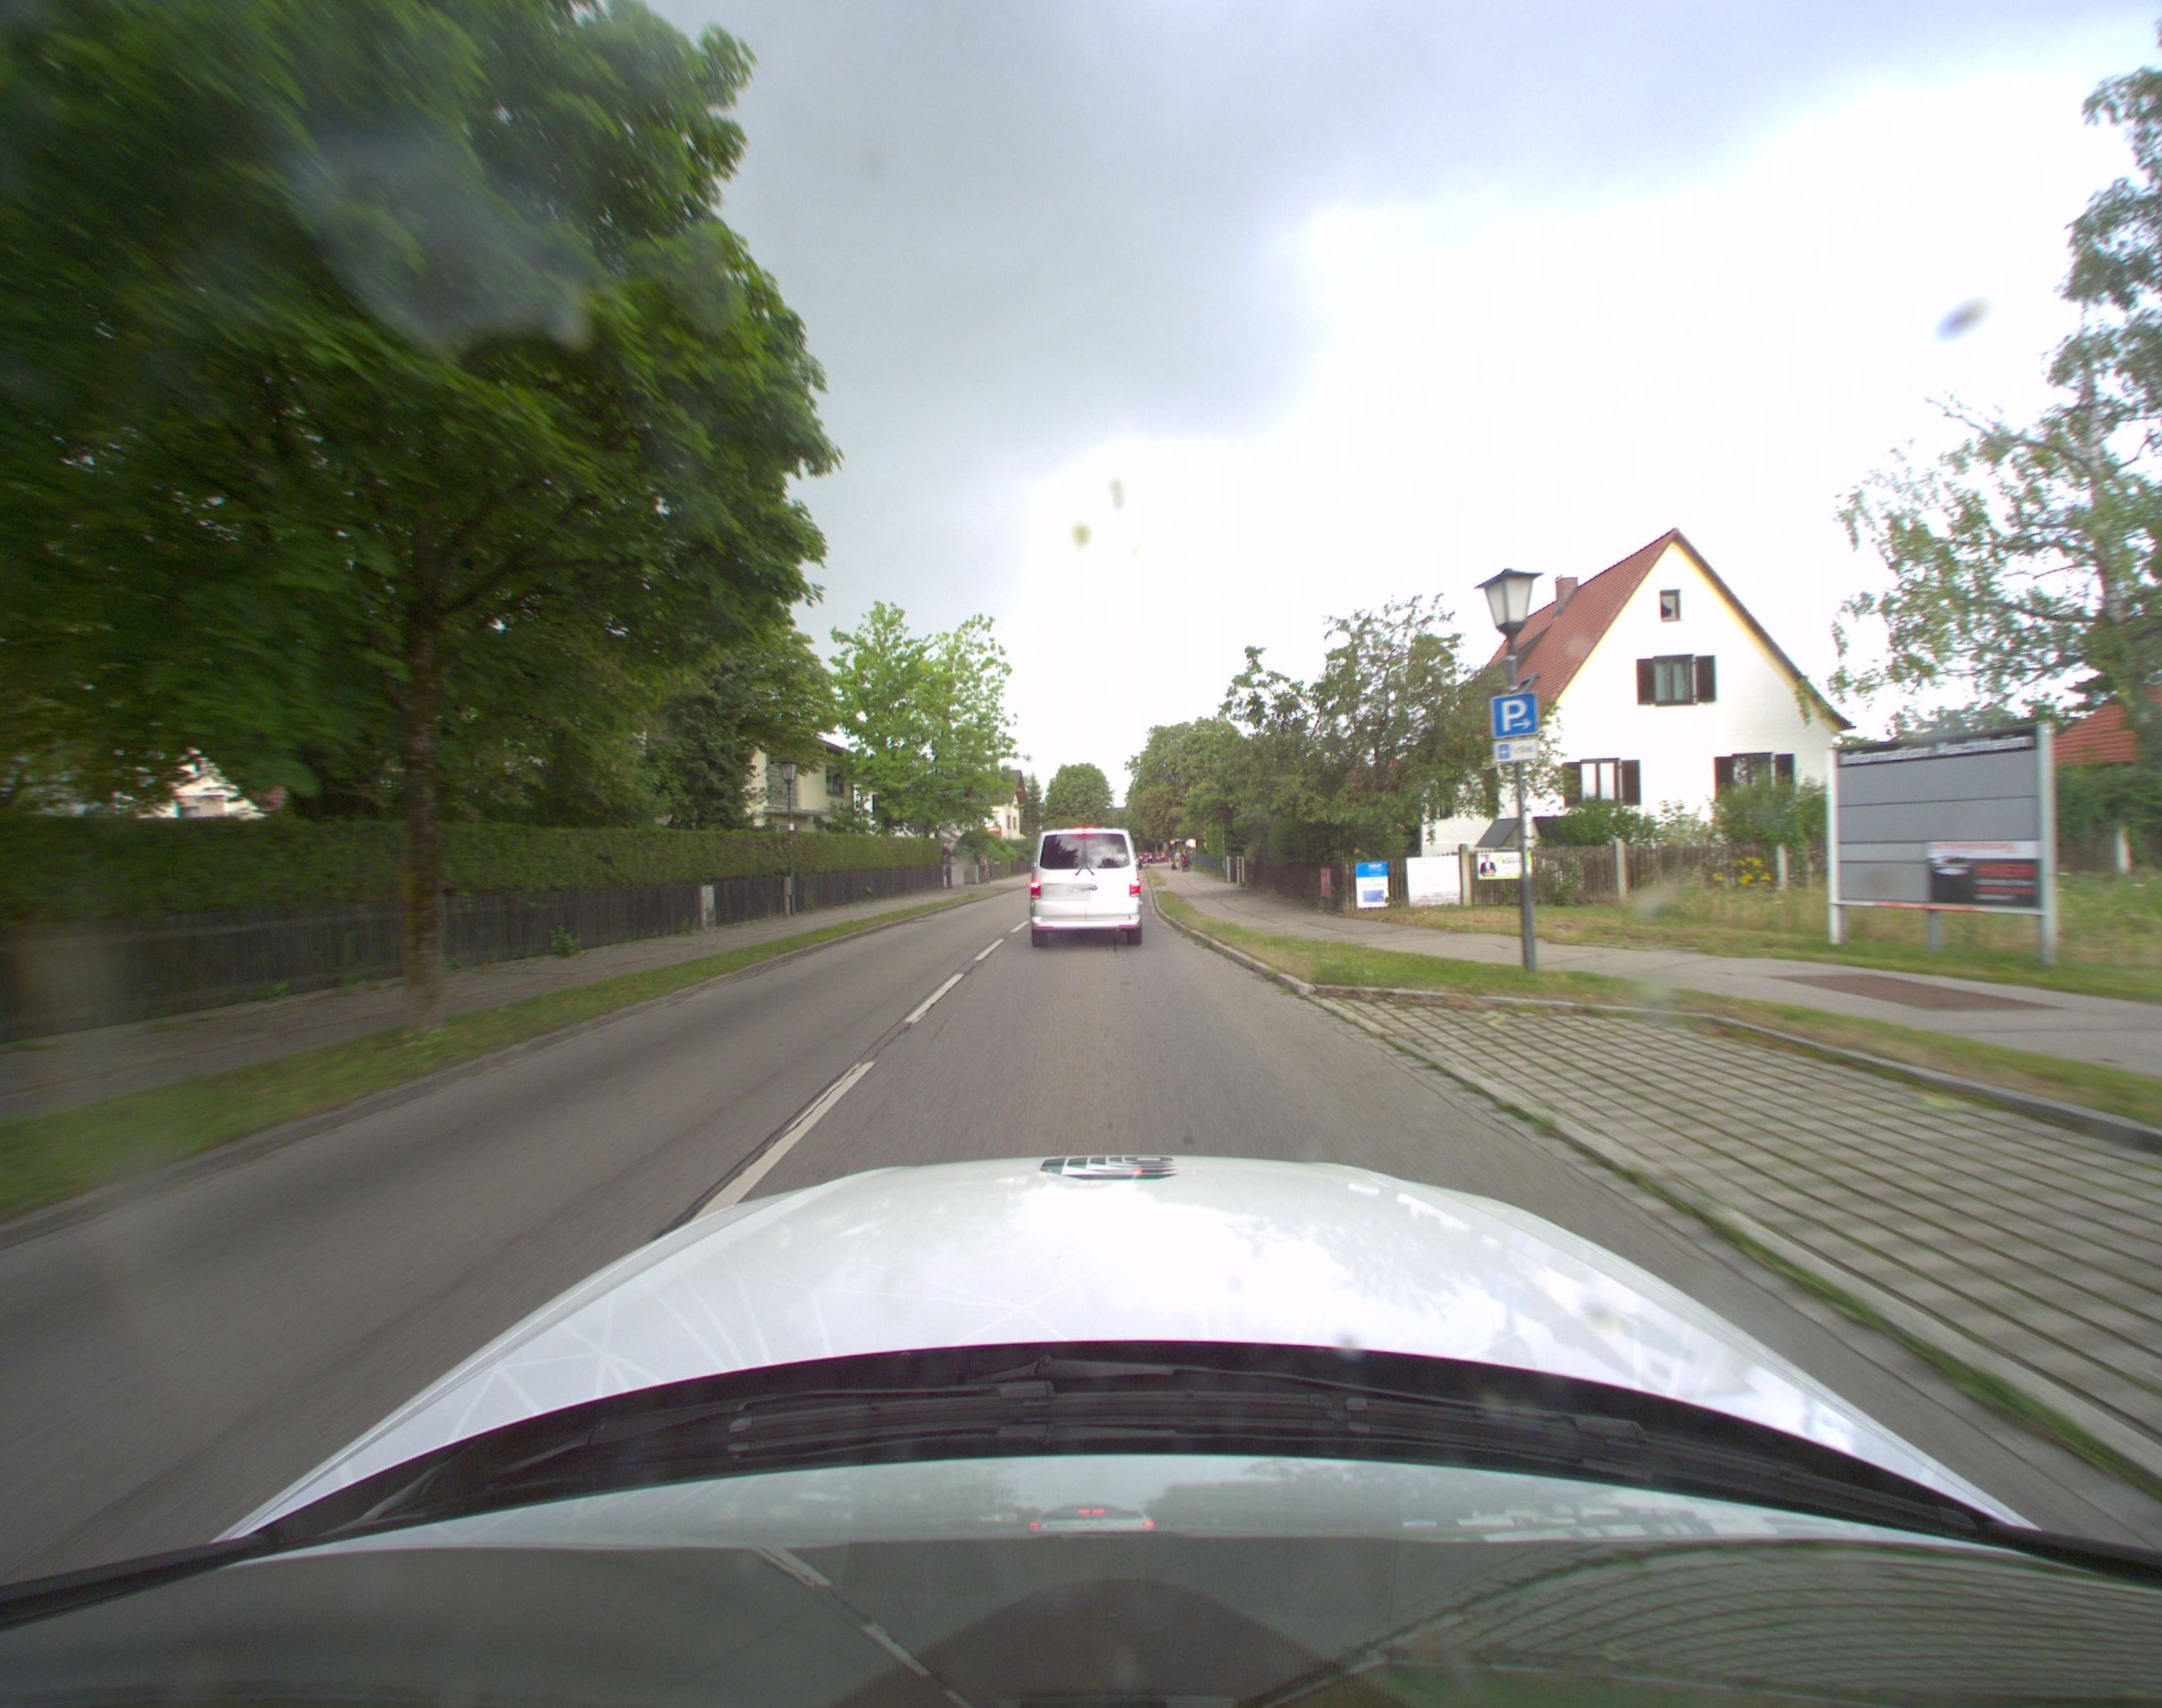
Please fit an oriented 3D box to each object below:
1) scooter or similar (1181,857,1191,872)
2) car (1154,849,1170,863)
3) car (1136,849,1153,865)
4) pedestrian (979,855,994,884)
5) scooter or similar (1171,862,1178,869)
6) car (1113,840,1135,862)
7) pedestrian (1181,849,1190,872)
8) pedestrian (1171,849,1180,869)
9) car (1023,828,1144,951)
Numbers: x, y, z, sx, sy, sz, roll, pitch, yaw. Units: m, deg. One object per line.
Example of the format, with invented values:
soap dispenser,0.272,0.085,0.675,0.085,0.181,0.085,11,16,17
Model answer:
scooter or similar,6.989,0.676,54.129,0.550,0.971,0.620,0,-1,0
car,11.834,0.250,118.821,1.981,2.013,4.012,-2,0,10
car,8.492,0.405,109.133,1.983,2.013,4.008,-2,0,7
pedestrian,-5.129,0.851,44.337,0.515,1.549,0.628,-1,-1,35
scooter or similar,7.193,0.862,62.842,0.473,0.545,0.458,0,0,0
car,4.112,-0.232,77.182,1.984,2.014,4.005,0,0,5
pedestrian,7.030,0.461,54.900,0.550,1.549,0.612,0,-1,0
pedestrian,7.245,0.352,62.214,0.620,1.523,0.579,0,-1,0
car,0.158,0.566,14.858,1.880,1.912,4.003,-1,0,3
